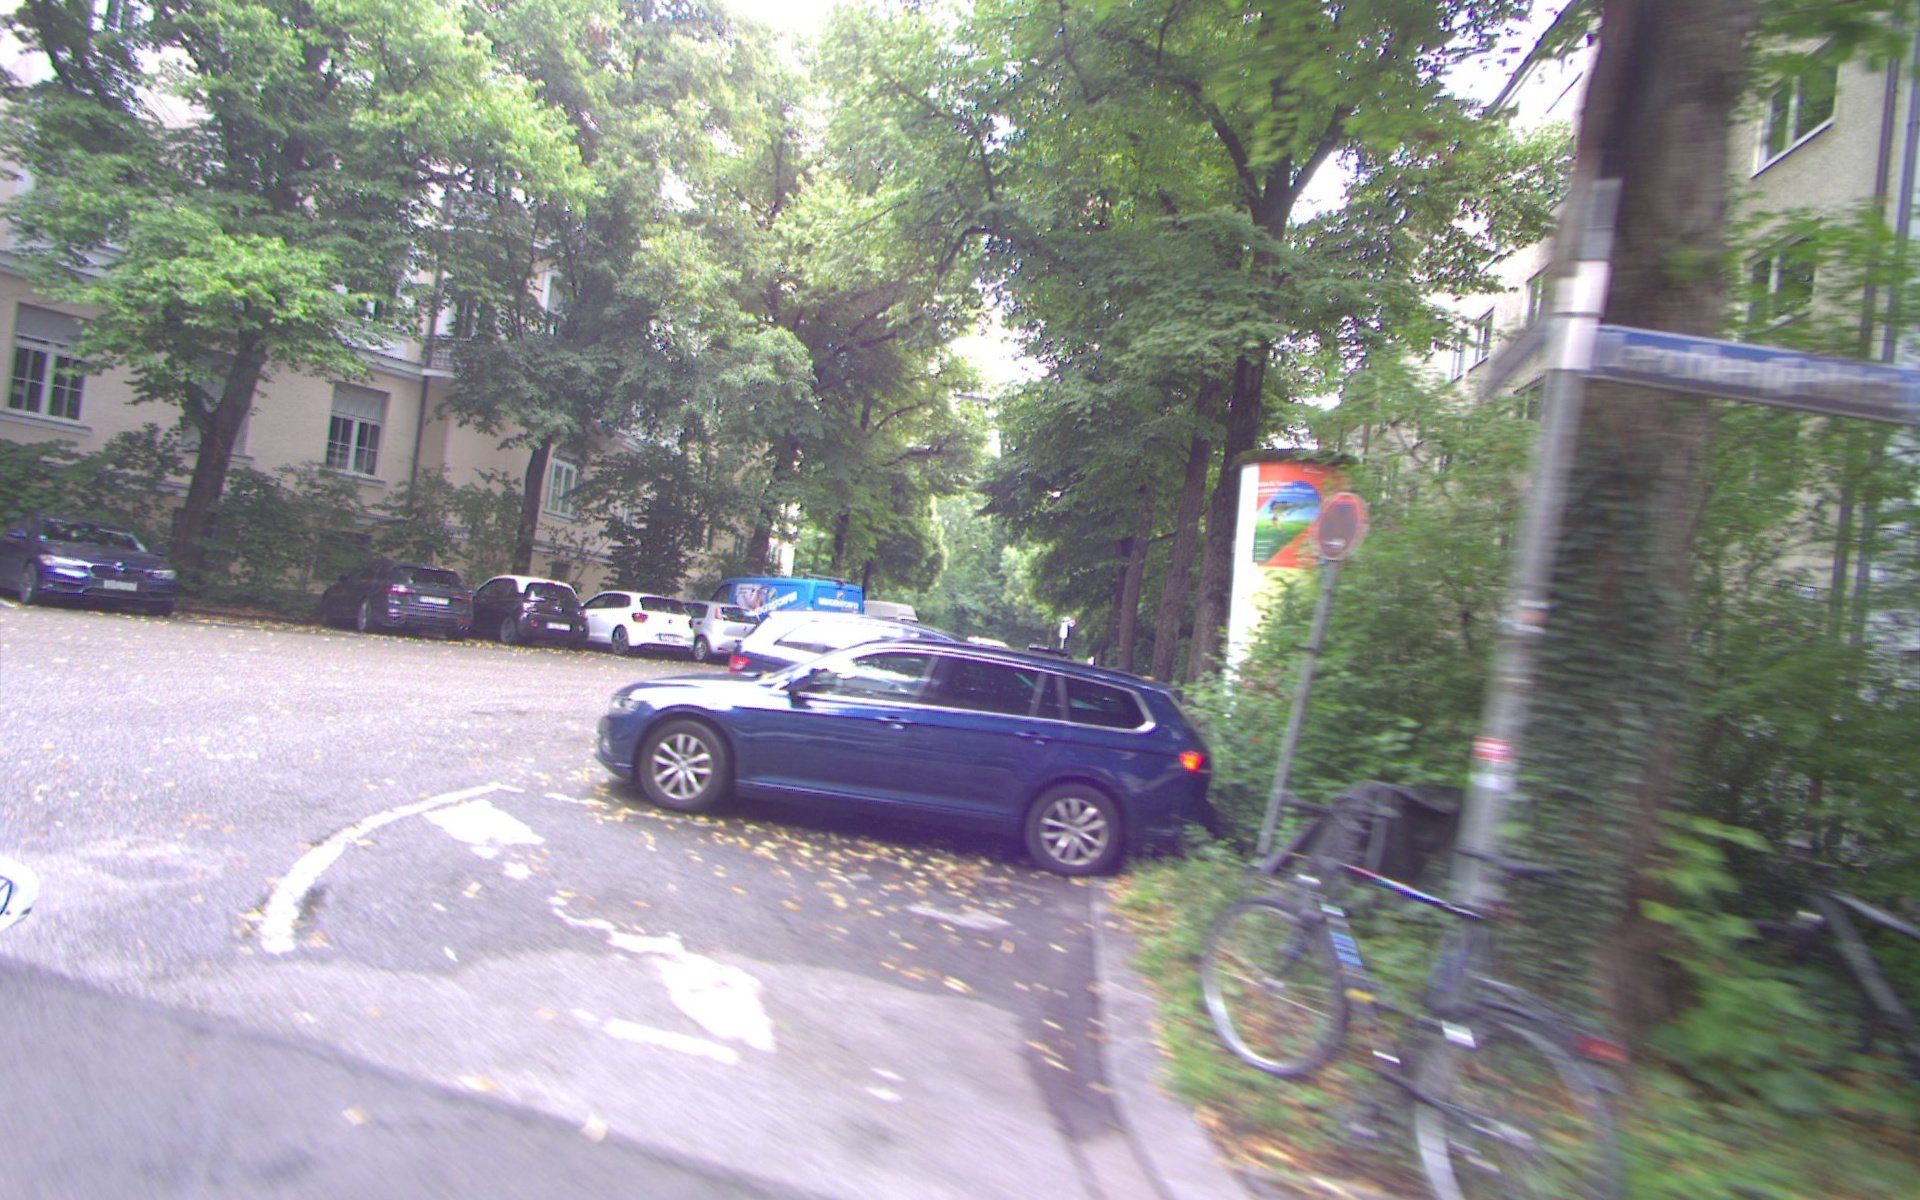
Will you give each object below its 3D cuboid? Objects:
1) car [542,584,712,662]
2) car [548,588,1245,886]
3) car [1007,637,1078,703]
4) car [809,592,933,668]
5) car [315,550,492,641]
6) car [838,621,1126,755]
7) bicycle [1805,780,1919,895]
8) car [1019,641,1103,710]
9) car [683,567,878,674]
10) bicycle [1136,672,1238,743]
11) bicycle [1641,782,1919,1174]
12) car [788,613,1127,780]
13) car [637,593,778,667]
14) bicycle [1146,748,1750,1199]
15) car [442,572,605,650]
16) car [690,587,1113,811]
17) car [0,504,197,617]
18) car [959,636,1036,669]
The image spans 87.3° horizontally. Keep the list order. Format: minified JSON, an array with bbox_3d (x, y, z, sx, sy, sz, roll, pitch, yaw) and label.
[{"bbox_3d":[-7.863,0.509,23.563,4.230,1.530,1.796,1,-5,41],"label":"car"},{"bbox_3d":[-0.421,0.957,7.836,4.645,1.393,1.962,8,-1,3],"label":"car"},{"bbox_3d":[2.616,2.108,30.997,1.802,1.648,4.530,8,-2,8],"label":"car"},{"bbox_3d":[-3.397,1.121,38.250,4.161,2.262,1.931,7,-1,32],"label":"car"},{"bbox_3d":[-10.974,-0.114,19.719,4.112,1.441,1.854,3,-4,45],"label":"car"},{"bbox_3d":[0.307,1.305,15.395,4.021,1.410,1.735,8,-1,-1],"label":"car"},{"bbox_3d":[10.746,2.735,11.562,0.641,1.035,1.704,8,-2,6],"label":"bicycle"},{"bbox_3d":[2.640,1.920,26.159,1.868,1.429,4.435,6,-2,6],"label":"car"},{"bbox_3d":[-4.879,0.490,26.816,5.424,2.380,2.056,3,-4,43],"label":"car"},{"bbox_3d":[4.564,2.163,20.200,1.850,1.177,0.761,8,-1,-30],"label":"bicycle"},{"bbox_3d":[3.394,1.349,3.638,0.595,1.068,1.635,8,-2,-2],"label":"bicycle"},{"bbox_3d":[0.007,1.176,12.821,3.874,1.464,1.828,7,-2,3],"label":"car"},{"bbox_3d":[-6.300,0.717,24.963,3.507,1.449,1.636,4,-4,43],"label":"car"},{"bbox_3d":[1.387,1.218,3.299,0.547,1.151,1.764,7,-1,-22],"label":"bicycle"},{"bbox_3d":[-9.588,0.234,21.989,3.702,1.441,1.825,1,-5,43],"label":"car"},{"bbox_3d":[-0.495,0.955,10.390,3.908,1.573,1.758,7,-1,7],"label":"car"},{"bbox_3d":[-14.127,-0.682,16.125,4.277,1.399,1.839,5,-2,37],"label":"car"},{"bbox_3d":[2.531,3.508,67.610,4.725,1.513,1.844,8,-1,12],"label":"car"}]
